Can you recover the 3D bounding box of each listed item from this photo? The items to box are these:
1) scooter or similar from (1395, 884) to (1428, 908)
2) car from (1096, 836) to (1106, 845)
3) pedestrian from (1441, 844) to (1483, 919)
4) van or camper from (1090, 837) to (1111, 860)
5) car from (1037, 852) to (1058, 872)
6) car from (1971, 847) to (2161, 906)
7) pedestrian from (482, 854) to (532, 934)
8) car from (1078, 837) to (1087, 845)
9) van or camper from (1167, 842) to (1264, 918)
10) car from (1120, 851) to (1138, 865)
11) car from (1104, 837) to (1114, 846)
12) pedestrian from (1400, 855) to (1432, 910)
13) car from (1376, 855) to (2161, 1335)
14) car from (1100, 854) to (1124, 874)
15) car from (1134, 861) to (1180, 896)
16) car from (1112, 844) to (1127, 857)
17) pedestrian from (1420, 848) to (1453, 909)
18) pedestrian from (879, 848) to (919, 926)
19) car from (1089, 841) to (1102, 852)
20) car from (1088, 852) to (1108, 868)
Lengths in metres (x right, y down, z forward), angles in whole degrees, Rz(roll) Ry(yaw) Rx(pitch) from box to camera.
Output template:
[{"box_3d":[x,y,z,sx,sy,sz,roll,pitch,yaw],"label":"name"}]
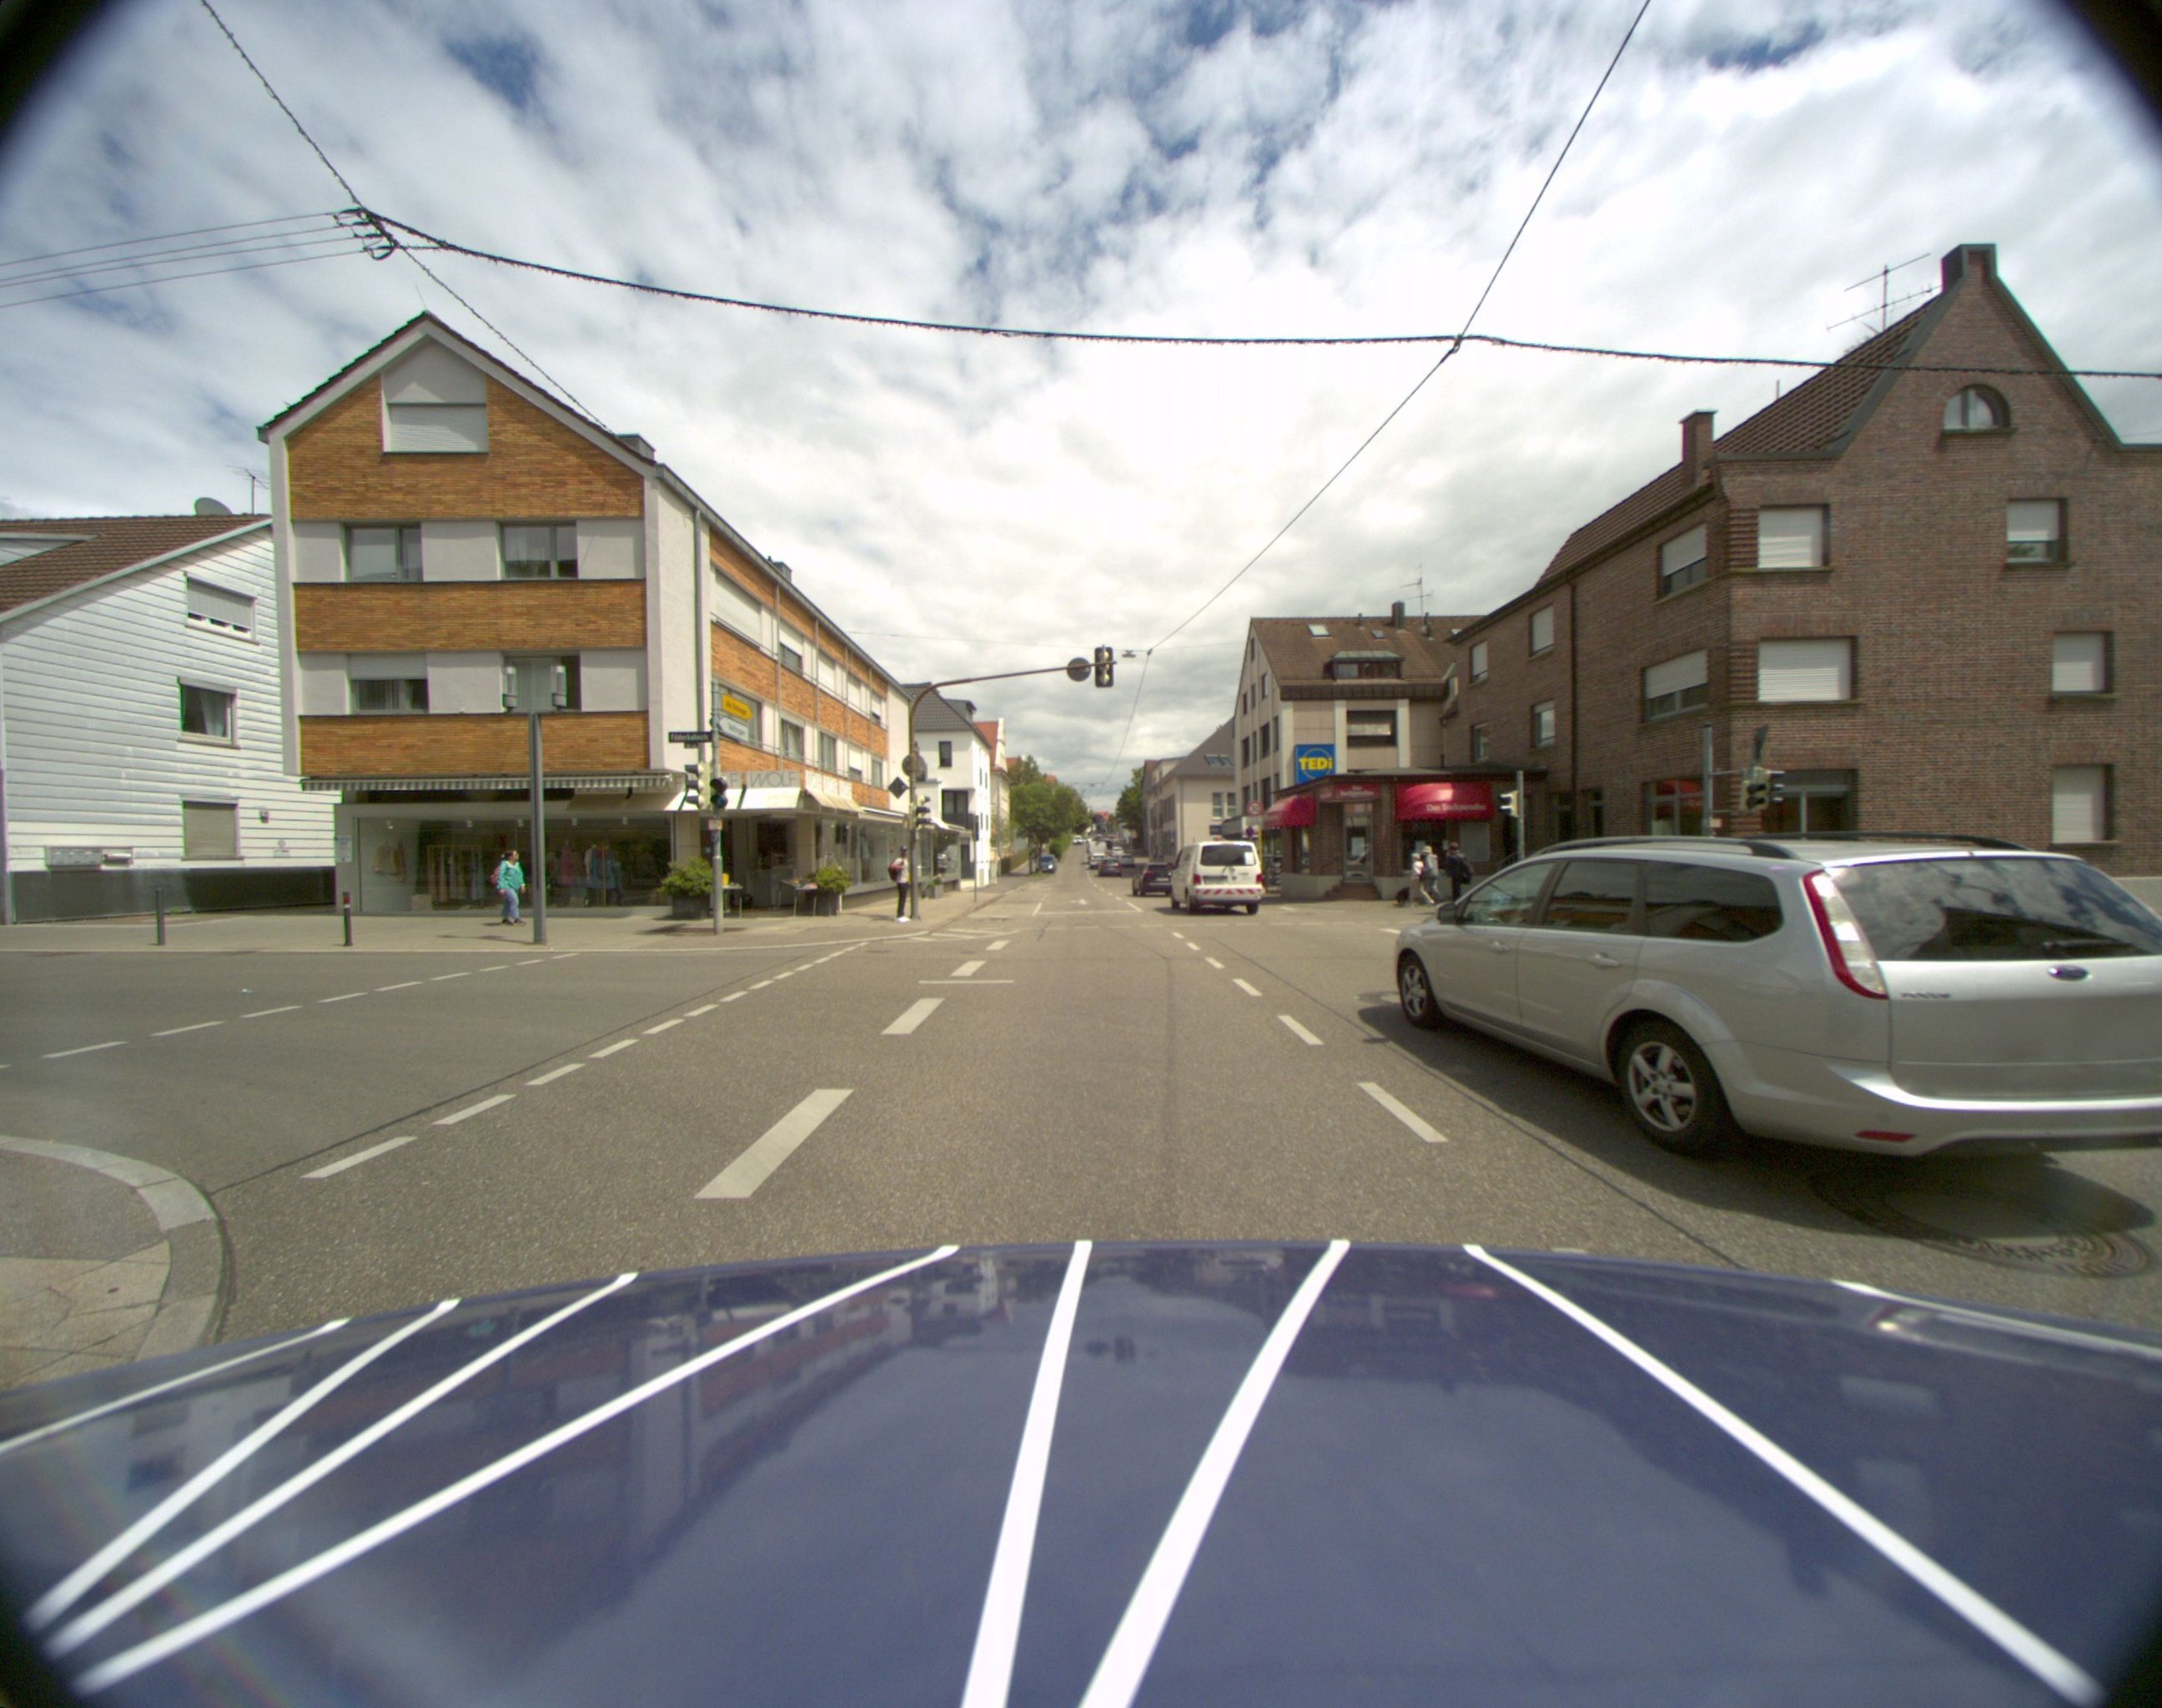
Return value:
[{"box_3d":[9.435,1.201,21.703,0.380,0.642,0.808,1,1,-23],"label":"scooter or similar"},{"box_3d":[4.456,-3.014,168.918,1.946,1.709,4.597,0,0,-1],"label":"car"},{"box_3d":[9.336,0.655,18.628,0.627,1.786,0.720,-2,2,-2],"label":"pedestrian"},{"box_3d":[2.268,-0.612,90.089,2.154,2.541,5.437,0,-1,-2],"label":"van or camper"},{"box_3d":[-3.122,0.757,71.631,1.698,1.733,4.158,-1,1,0],"label":"car"},{"box_3d":[26.729,0.546,20.084,1.749,1.408,4.000,0,0,1],"label":"car"},{"box_3d":[-11.579,0.795,15.350,0.589,1.550,0.528,-2,2,-16],"label":"pedestrian"},{"box_3d":[0.296,-2.953,172.338,1.946,1.605,4.453,0,1,-1],"label":"car"},{"box_3d":[3.696,0.697,21.724,1.869,1.886,4.692,-1,-1,-1],"label":"van or camper"},{"box_3d":[5.160,0.429,82.276,1.665,1.322,3.472,0,2,0],"label":"car"},{"box_3d":[4.952,-2.233,133.401,1.673,1.545,3.963,0,3,0],"label":"car"},{"box_3d":[9.332,0.770,21.200,0.525,1.477,0.761,-2,2,-2],"label":"pedestrian"},{"box_3d":[3.523,0.811,4.627,1.673,1.544,4.214,-1,0,-2],"label":"car"},{"box_3d":[2.605,0.841,64.309,1.794,1.580,4.100,0,-1,-2],"label":"car"},{"box_3d":[3.387,1.070,34.477,1.687,1.488,3.967,0,0,0],"label":"car"},{"box_3d":[5.029,-0.457,100.373,1.737,1.480,4.064,0,3,0],"label":"car"},{"box_3d":[9.876,0.665,21.151,0.525,1.649,0.761,-2,2,-2],"label":"pedestrian"},{"box_3d":[-4.309,0.767,17.988,0.614,1.804,0.774,3,-1,-32],"label":"pedestrian"},{"box_3d":[2.265,-1.134,117.440,1.780,1.603,4.119,0,0,-2],"label":"car"},{"box_3d":[1.735,0.590,78.181,1.785,1.630,4.219,1,0,-2],"label":"car"}]
